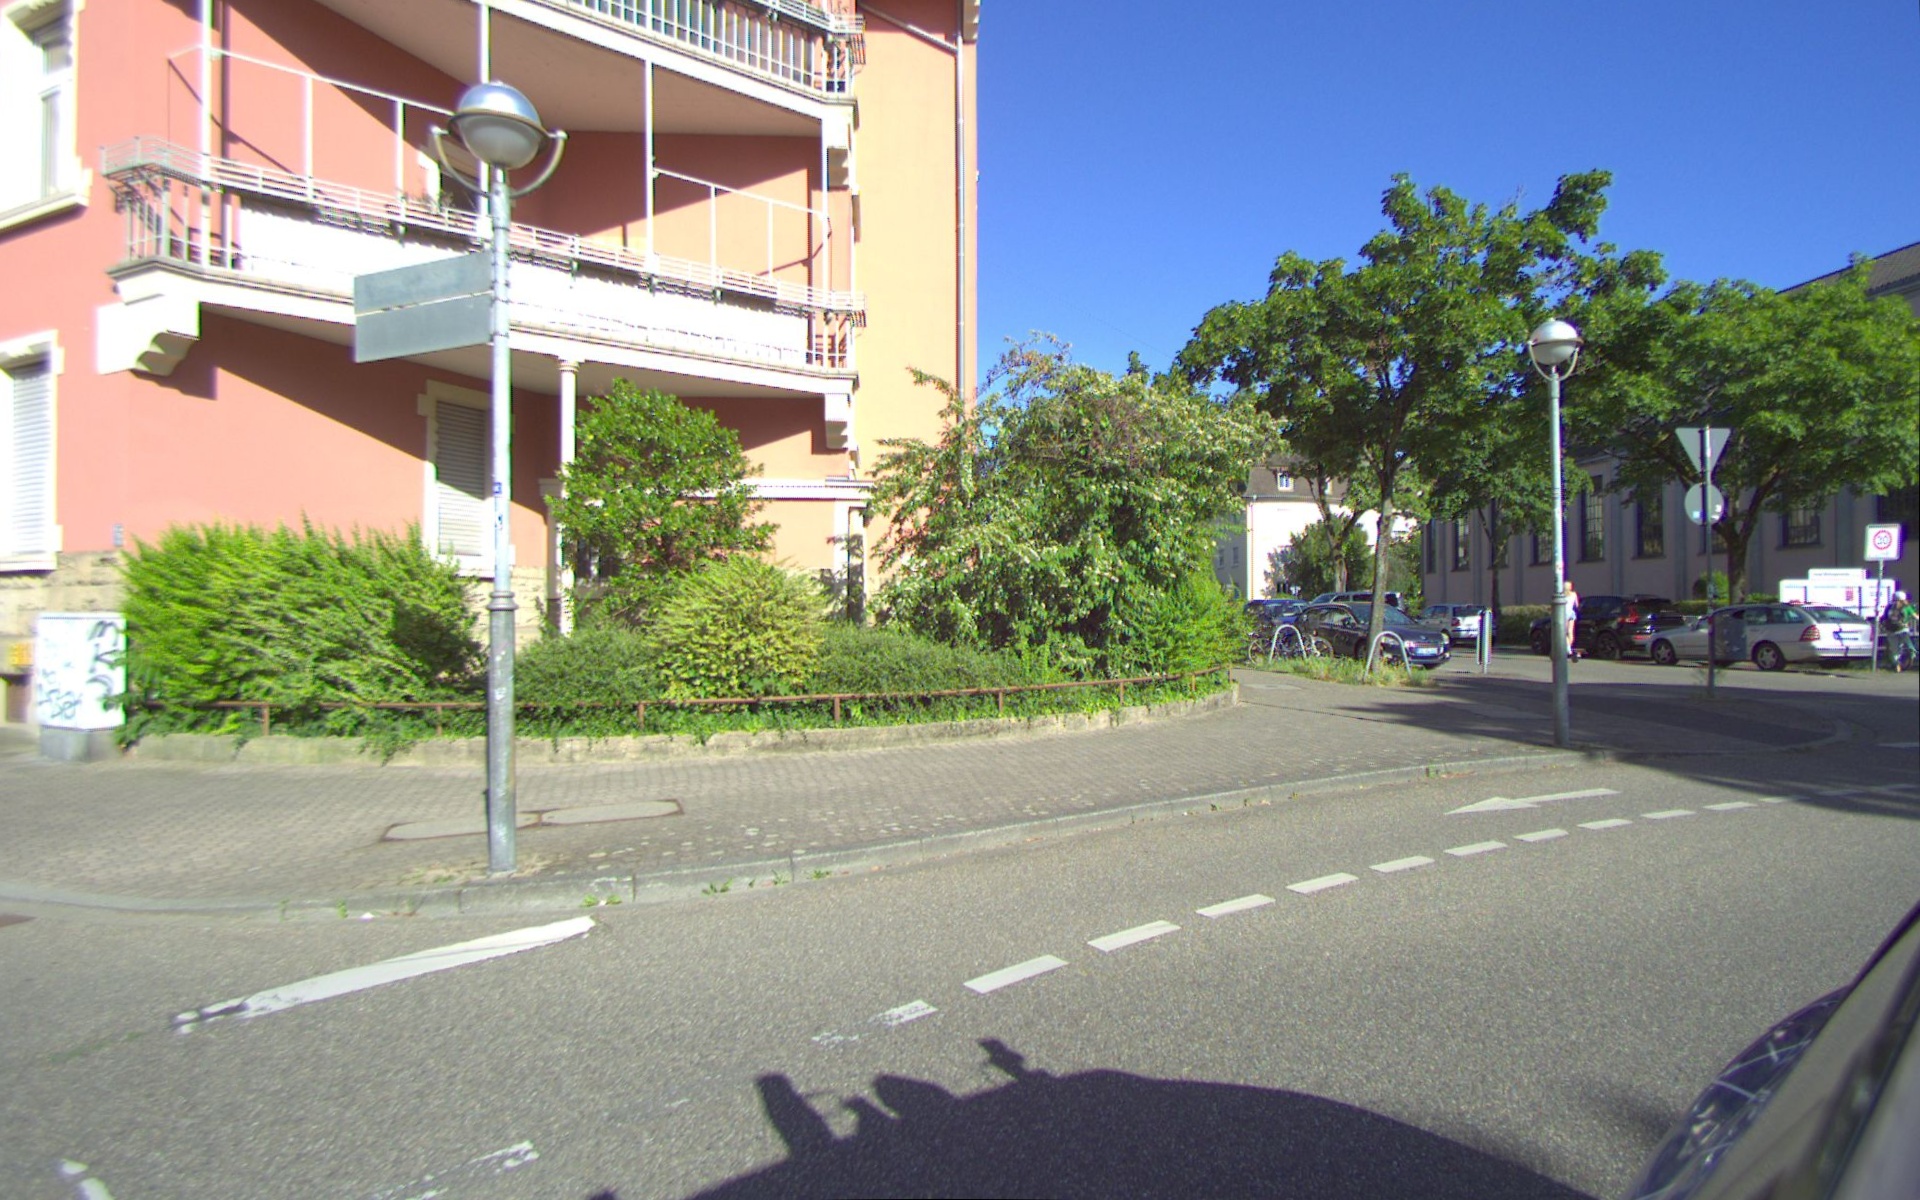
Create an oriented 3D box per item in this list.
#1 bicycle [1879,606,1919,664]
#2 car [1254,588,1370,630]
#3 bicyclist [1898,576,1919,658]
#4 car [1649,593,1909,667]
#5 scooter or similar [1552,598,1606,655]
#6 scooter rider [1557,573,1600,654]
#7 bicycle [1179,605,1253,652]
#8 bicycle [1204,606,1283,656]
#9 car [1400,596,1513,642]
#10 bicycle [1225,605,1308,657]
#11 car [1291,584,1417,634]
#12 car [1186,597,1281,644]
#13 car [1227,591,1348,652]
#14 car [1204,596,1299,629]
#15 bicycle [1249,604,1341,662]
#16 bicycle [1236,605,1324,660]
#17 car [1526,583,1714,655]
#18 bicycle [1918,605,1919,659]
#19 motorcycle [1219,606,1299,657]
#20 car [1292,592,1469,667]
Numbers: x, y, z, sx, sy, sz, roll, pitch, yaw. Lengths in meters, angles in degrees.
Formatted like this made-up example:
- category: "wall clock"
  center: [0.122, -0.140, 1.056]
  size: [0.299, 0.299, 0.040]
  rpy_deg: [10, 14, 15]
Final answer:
- category: "bicycle"
  center: [19.181, 0.698, 19.997]
  size: [0.586, 1.121, 1.857]
  rpy_deg: [-1, 0, 11]
- category: "car"
  center: [16.035, 0.415, 46.220]
  size: [4.684, 1.865, 1.811]
  rpy_deg: [1, -1, -4]
- category: "bicyclist"
  center: [19.176, 0.326, 19.982]
  size: [0.586, 1.601, 0.802]
  rpy_deg: [-1, -1, 11]
- category: "car"
  center: [17.575, 0.597, 22.041]
  size: [1.773, 1.434, 4.344]
  rpy_deg: [1, 0, -8]
- category: "scooter or similar"
  center: [14.398, 0.609, 23.561]
  size: [0.621, 1.299, 1.105]
  rpy_deg: [0, 0, 3]
- category: "scooter rider"
  center: [14.401, 0.316, 23.567]
  size: [0.614, 1.855, 0.631]
  rpy_deg: [0, -1, 3]
- category: "bicycle"
  center: [6.412, 0.715, 25.389]
  size: [1.692, 1.121, 0.516]
  rpy_deg: [2, -1, -6]
- category: "bicycle"
  center: [6.665, 0.734, 23.810]
  size: [1.691, 1.121, 0.502]
  rpy_deg: [2, -1, -10]
- category: "car"
  center: [17.132, 0.640, 35.161]
  size: [1.775, 1.492, 4.338]
  rpy_deg: [1, 0, 0]
- category: "bicycle"
  center: [6.834, 0.694, 22.587]
  size: [1.791, 1.121, 0.502]
  rpy_deg: [2, -1, -19]
- category: "car"
  center: [16.761, 0.377, 43.162]
  size: [4.682, 2.027, 1.812]
  rpy_deg: [1, -1, -7]
- category: "car"
  center: [9.395, 0.656, 35.122]
  size: [1.774, 1.469, 4.402]
  rpy_deg: [-2, 0, -4]
- category: "car"
  center: [9.415, 0.577, 29.463]
  size: [1.774, 1.581, 4.402]
  rpy_deg: [-2, 0, -4]
- category: "car"
  center: [16.124, 0.684, 56.067]
  size: [4.682, 1.767, 1.812]
  rpy_deg: [1, -1, -7]
- category: "bicycle"
  center: [6.884, 0.671, 20.813]
  size: [1.693, 1.129, 0.546]
  rpy_deg: [2, -1, -2]
- category: "bicycle"
  center: [6.862, 0.692, 21.719]
  size: [1.693, 1.129, 0.546]
  rpy_deg: [2, -1, -2]
- category: "car"
  center: [17.436, 0.490, 27.034]
  size: [1.773, 1.750, 4.344]
  rpy_deg: [1, 0, -8]
- category: "bicycle"
  center: [20.219, 0.666, 20.179]
  size: [0.634, 1.122, 1.715]
  rpy_deg: [-1, 0, 3]
- category: "motorcycle"
  center: [6.868, 0.730, 23.290]
  size: [1.691, 1.121, 0.502]
  rpy_deg: [2, -1, -10]
- category: "car"
  center: [9.662, 0.624, 23.673]
  size: [1.773, 1.502, 4.345]
  rpy_deg: [-2, 0, -8]
